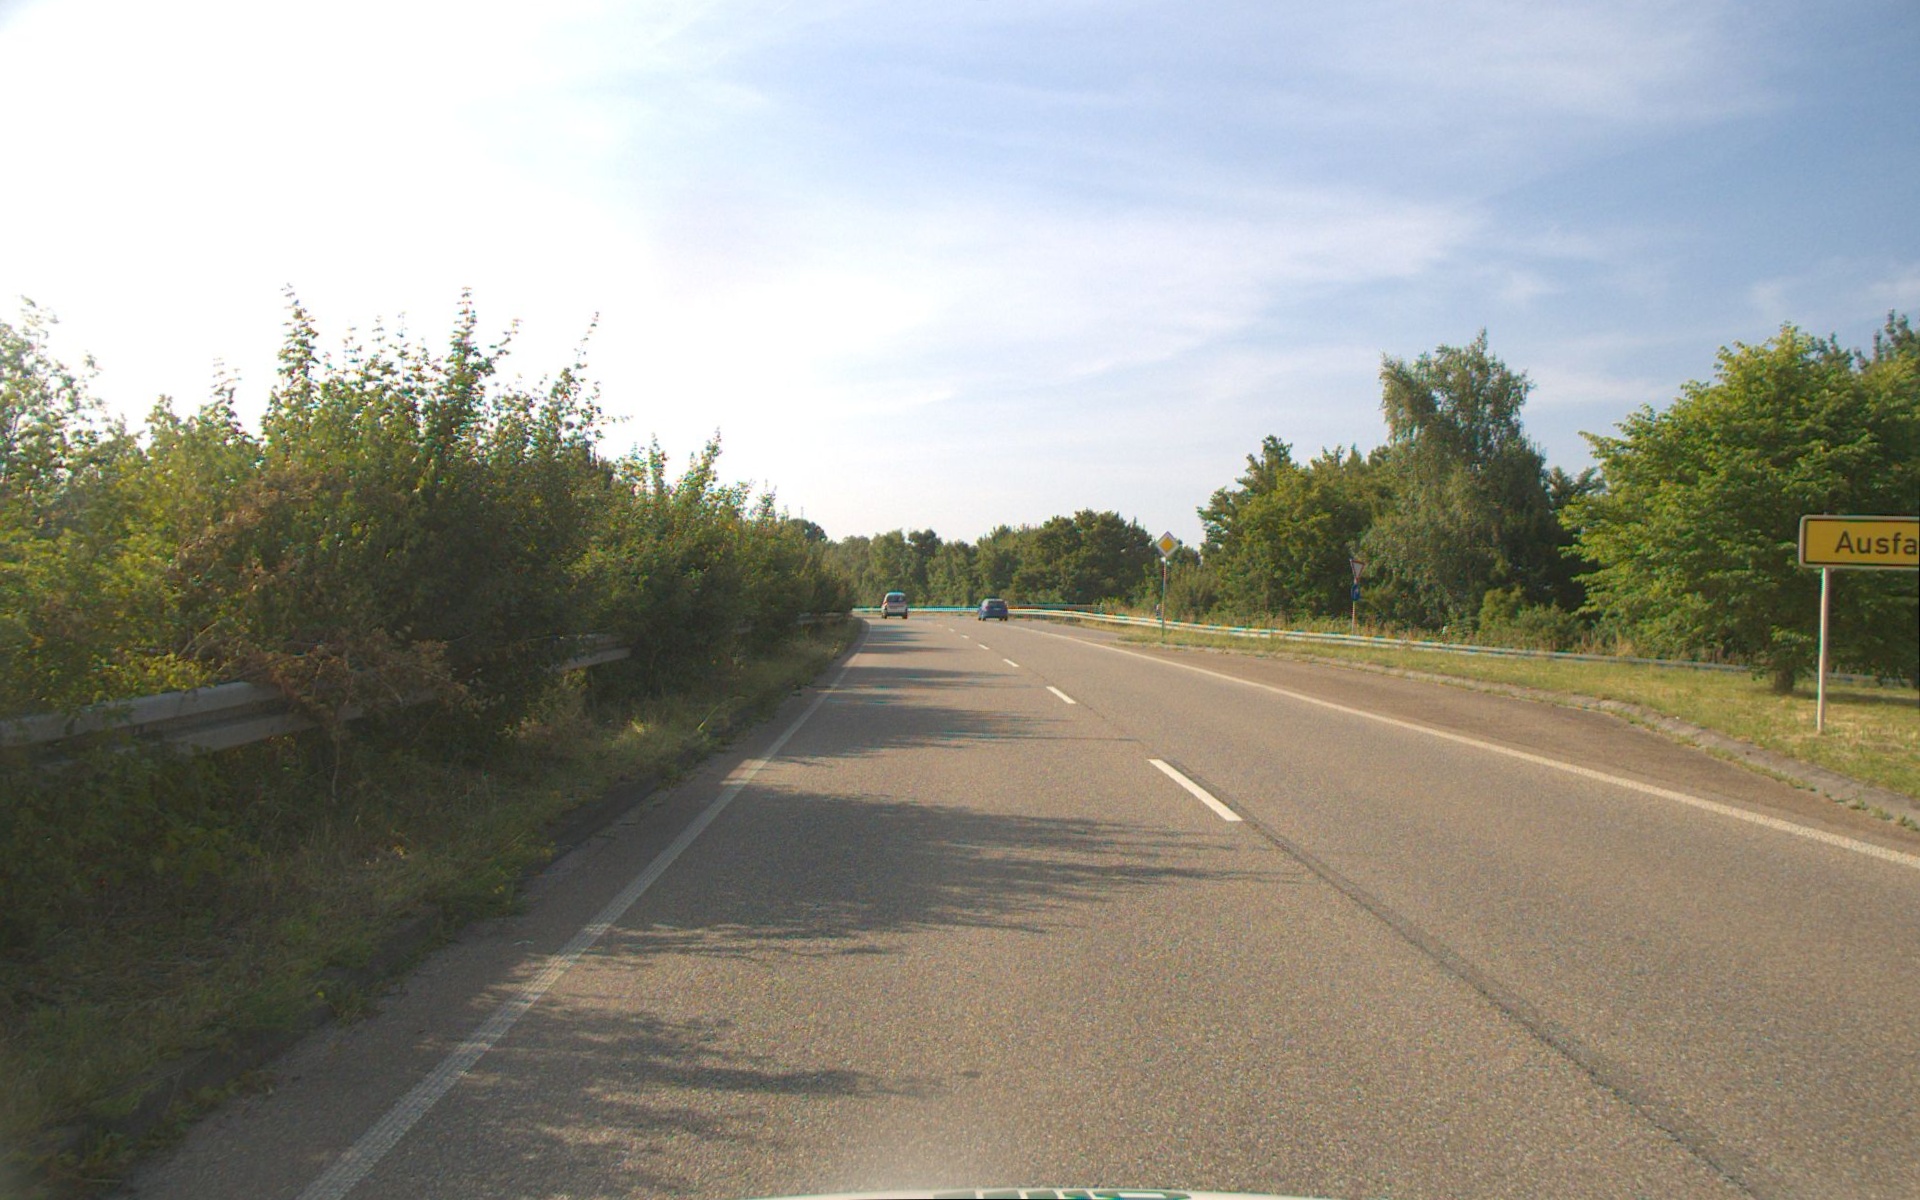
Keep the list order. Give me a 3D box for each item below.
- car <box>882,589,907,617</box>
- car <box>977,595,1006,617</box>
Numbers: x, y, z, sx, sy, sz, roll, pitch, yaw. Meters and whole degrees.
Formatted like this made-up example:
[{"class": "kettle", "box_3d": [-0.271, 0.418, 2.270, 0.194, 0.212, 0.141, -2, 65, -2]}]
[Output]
[{"class": "car", "box_3d": [-4.671, 0.212, 117.818, 1.730, 1.915, 3.997, 0, 0, -3]}, {"class": "car", "box_3d": [2.131, 0.424, 113.663, 1.743, 1.477, 3.997, 0, -1, -3]}]
